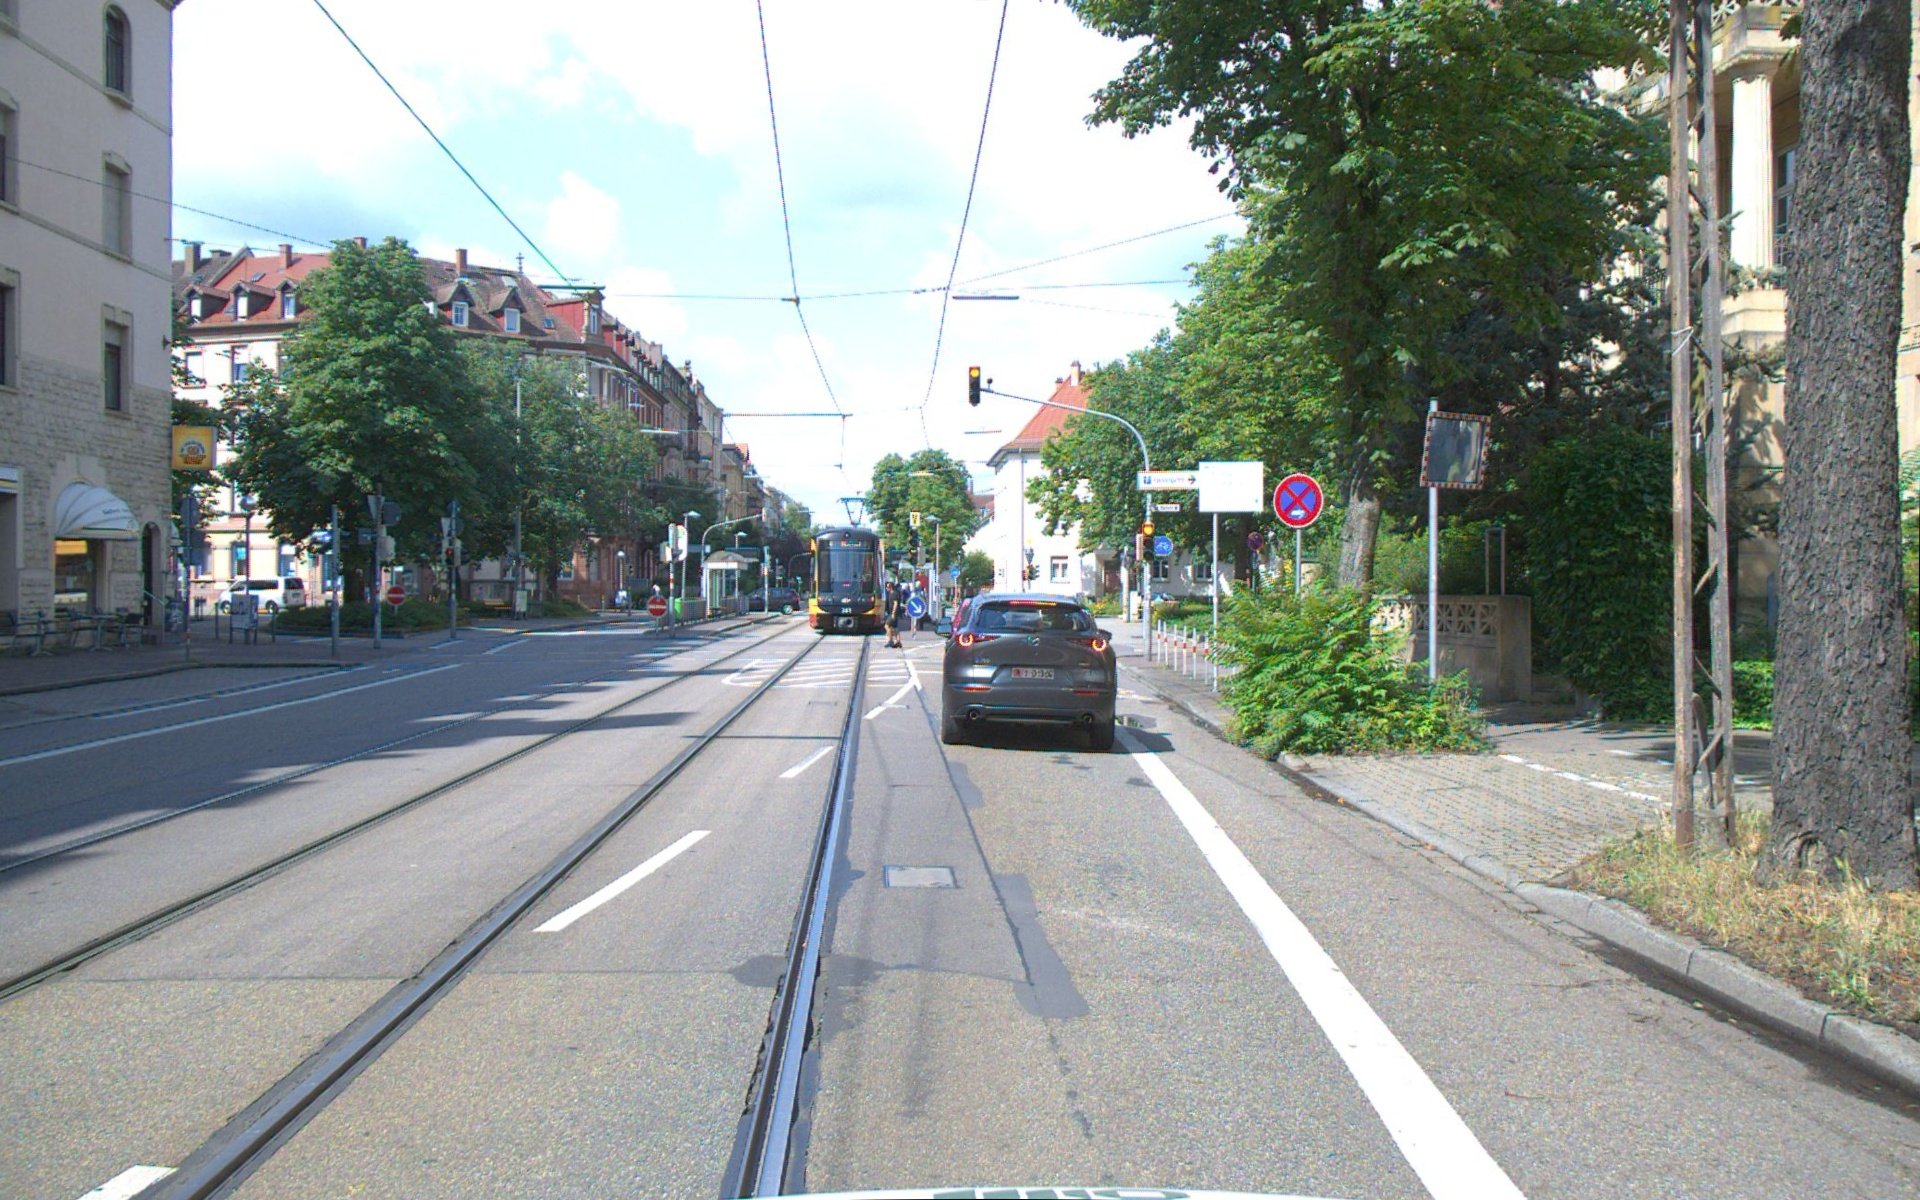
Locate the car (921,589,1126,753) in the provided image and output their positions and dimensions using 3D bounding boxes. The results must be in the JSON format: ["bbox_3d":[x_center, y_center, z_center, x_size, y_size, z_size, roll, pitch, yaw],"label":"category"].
[{"bbox_3d":[0.569,0.669,18.110,1.754,1.538,4.347,1,0,-4],"label":"car"}]

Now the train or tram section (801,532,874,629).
[{"bbox_3d":[-4.973,-0.734,66.085,2.601,3.589,8.485,-1,0,-6],"label":"train or tram section"}]

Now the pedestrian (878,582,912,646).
[{"bbox_3d":[-1.681,0.357,42.774,0.858,1.633,0.631,0,0,-6],"label":"pedestrian"}]

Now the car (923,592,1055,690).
[{"bbox_3d":[0.410,0.630,28.645,1.750,1.518,4.877,0,1,-6],"label":"car"}]

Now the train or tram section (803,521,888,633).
[{"bbox_3d":[-4.085,-0.736,57.607,2.601,3.589,8.485,-1,0,-6],"label":"train or tram section"}]

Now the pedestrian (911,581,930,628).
[{"bbox_3d":[-1.387,0.143,58.123,0.654,1.633,0.699,0,0,-5],"label":"pedestrian"}]

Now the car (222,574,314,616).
[{"bbox_3d":[-37.494,-0.267,89.612,4.033,2.048,2.002,-3,0,7],"label":"car"}]

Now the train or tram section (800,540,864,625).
[{"bbox_3d":[-5.852,-0.745,74.515,2.601,3.589,8.485,-1,0,-6],"label":"train or tram section"}]
